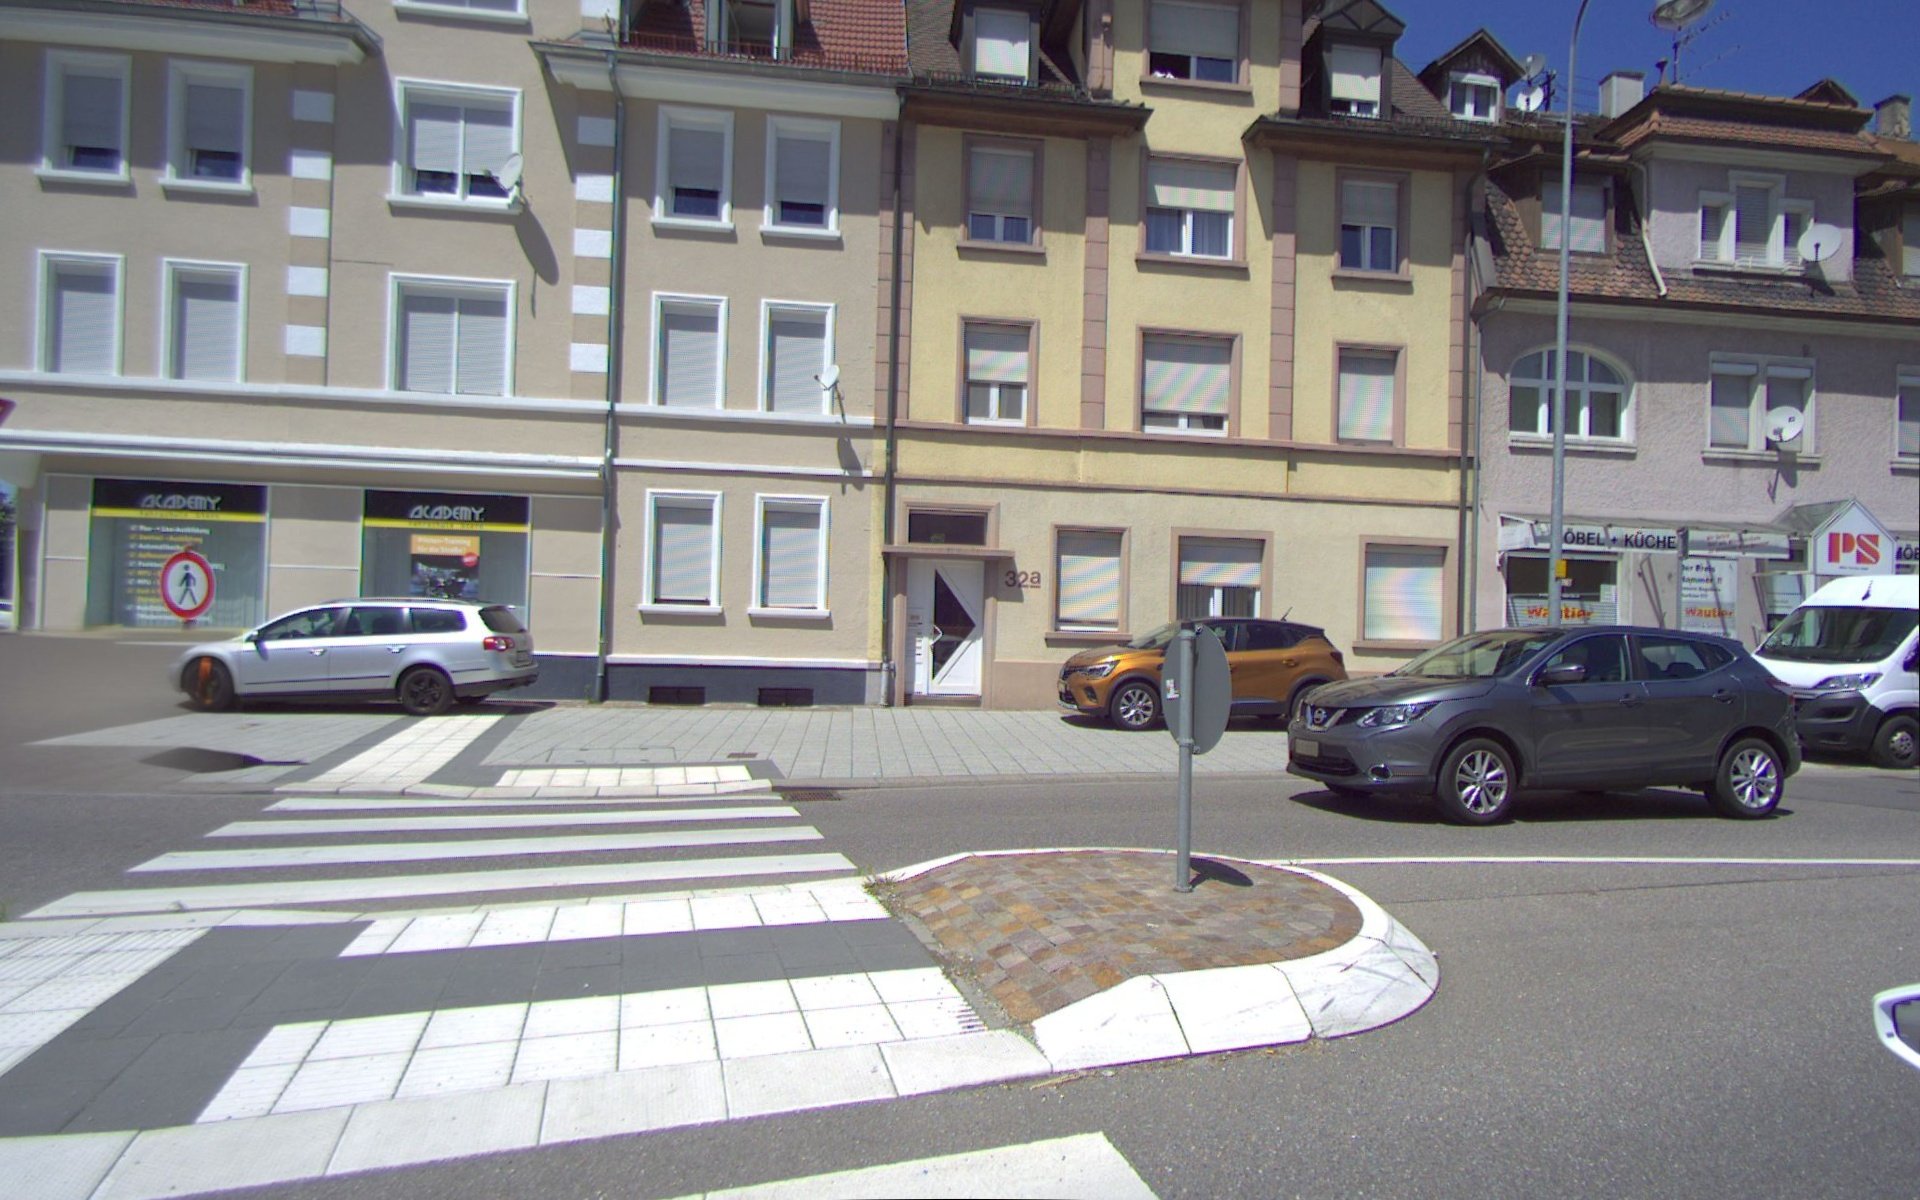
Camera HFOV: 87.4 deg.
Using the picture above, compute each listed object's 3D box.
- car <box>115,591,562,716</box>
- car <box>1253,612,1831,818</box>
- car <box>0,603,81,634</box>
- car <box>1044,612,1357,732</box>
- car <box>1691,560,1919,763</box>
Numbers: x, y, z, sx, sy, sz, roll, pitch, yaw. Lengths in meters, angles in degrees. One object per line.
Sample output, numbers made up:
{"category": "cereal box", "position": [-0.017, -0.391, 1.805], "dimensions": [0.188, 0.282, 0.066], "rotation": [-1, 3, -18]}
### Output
{"category": "car", "position": [-8.235, 0.708, 13.739], "dimensions": [4.854, 1.523, 1.798], "rotation": [1, 0, -7]}
{"category": "car", "position": [4.972, 0.987, 8.775], "dimensions": [4.315, 1.508, 1.797], "rotation": [3, -3, -13]}
{"category": "car", "position": [-48.608, 0.953, 52.175], "dimensions": [3.923, 1.483, 1.999], "rotation": [2, -2, -4]}
{"category": "car", "position": [3.391, 1.007, 14.595], "dimensions": [4.039, 1.562, 1.798], "rotation": [1, 0, -7]}
{"category": "car", "position": [13.654, 0.829, 13.793], "dimensions": [6.005, 2.482, 2.123], "rotation": [2, 1, -8]}
